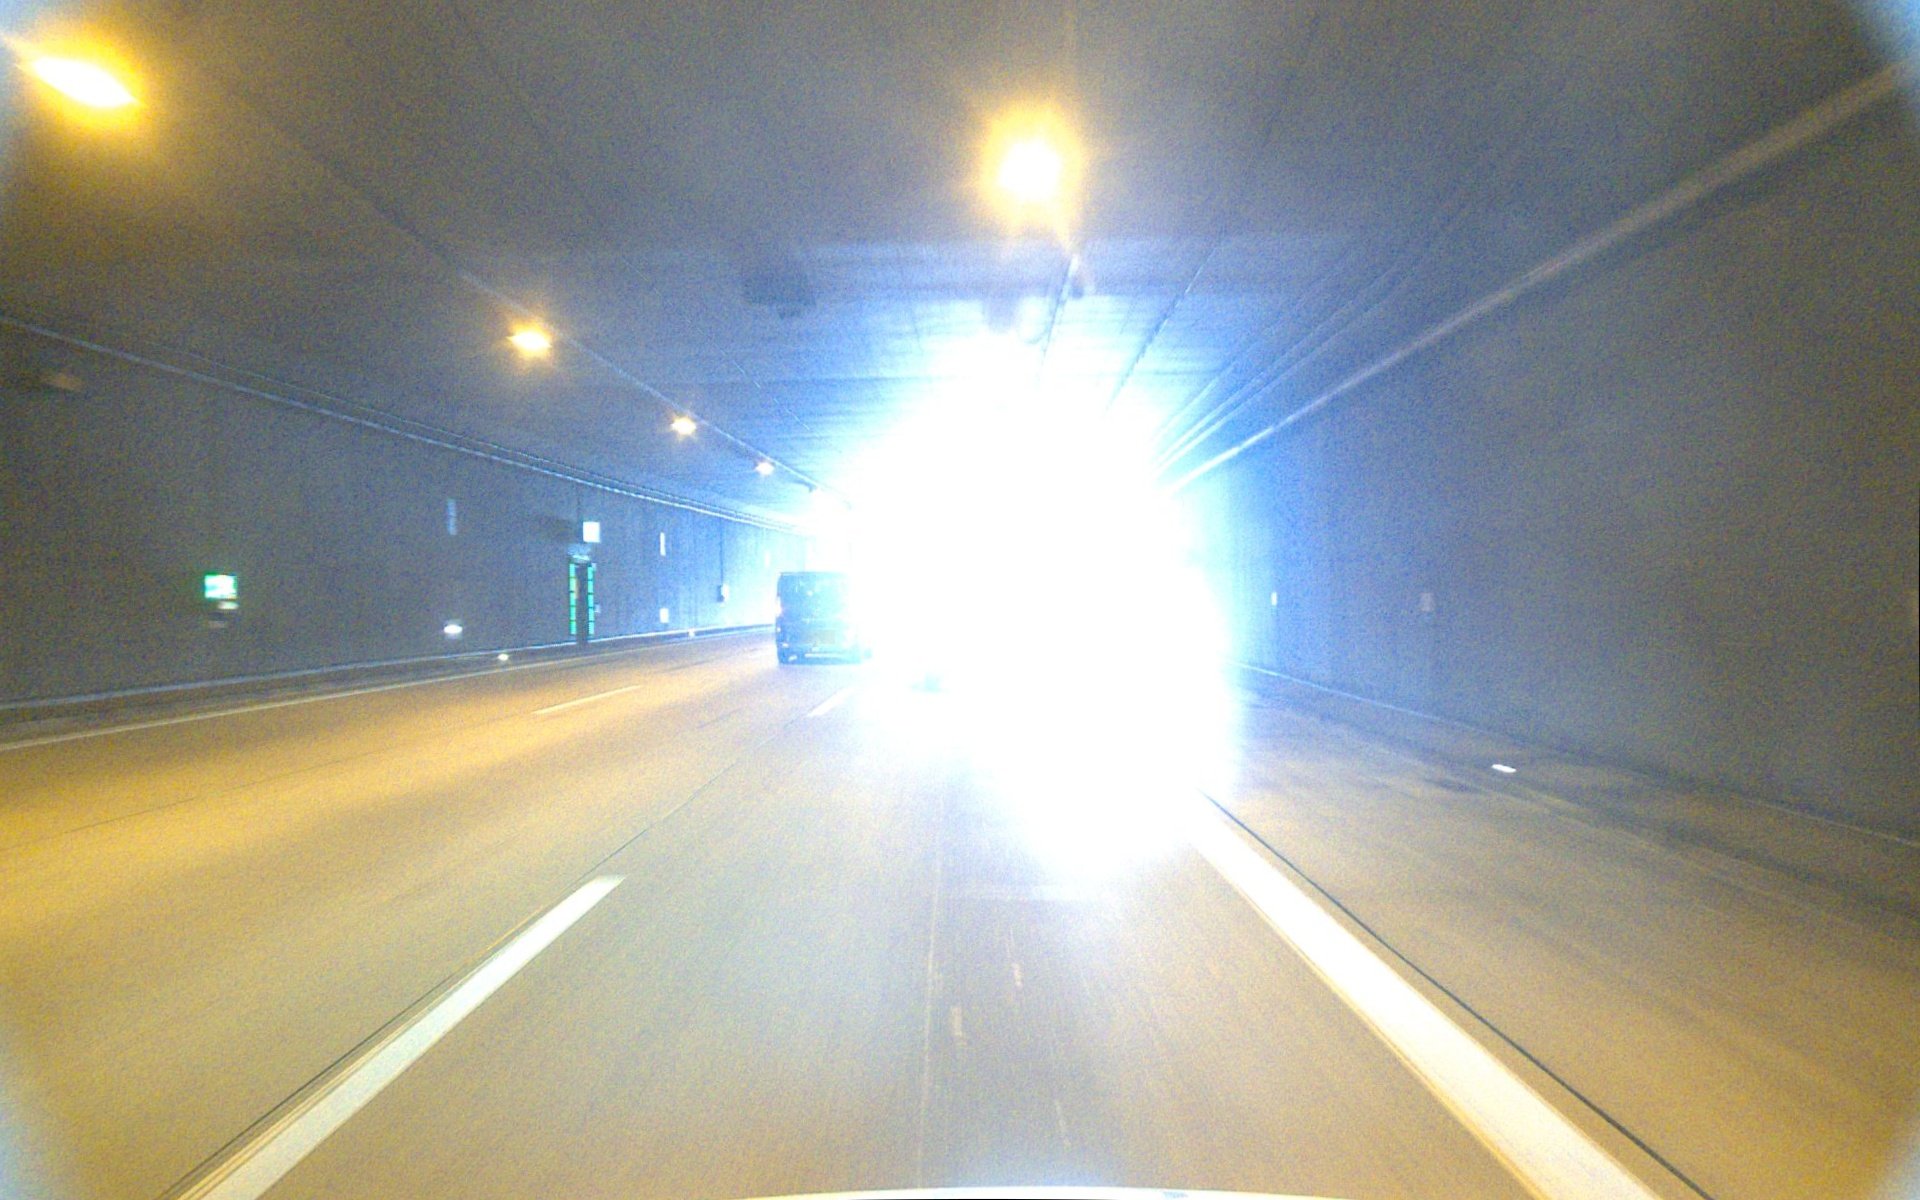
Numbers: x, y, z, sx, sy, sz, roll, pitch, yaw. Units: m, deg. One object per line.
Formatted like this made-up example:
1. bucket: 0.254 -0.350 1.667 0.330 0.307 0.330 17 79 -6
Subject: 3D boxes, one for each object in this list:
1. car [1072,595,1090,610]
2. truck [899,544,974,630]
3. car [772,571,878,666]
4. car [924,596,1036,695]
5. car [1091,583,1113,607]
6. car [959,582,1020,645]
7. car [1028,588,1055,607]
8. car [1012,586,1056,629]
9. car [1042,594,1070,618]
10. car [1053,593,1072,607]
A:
1. car: 14.899 0.325 203.355 1.951 1.660 4.003 0 -2 8
2. truck: -1.010 -0.568 76.521 2.975 3.737 7.395 0 0 3
3. car: -2.935 0.387 36.713 1.870 1.978 3.872 0 0 2
4. car: 0.373 0.691 27.101 1.706 1.489 3.872 0 0 2
5. car: 13.081 -0.480 152.621 1.951 2.049 4.002 0 -2 6
6. car: 0.964 0.413 52.496 1.818 1.887 4.001 0 0 2
7. car: 7.473 -0.220 150.939 1.951 1.660 4.003 0 -2 10
8. car: 3.310 0.360 74.615 1.909 1.803 4.000 0 -2 2
9. car: 7.126 0.474 122.609 1.890 1.671 4.002 0 -2 5
10. car: 13.217 0.028 213.159 1.889 1.671 4.003 0 -2 10
